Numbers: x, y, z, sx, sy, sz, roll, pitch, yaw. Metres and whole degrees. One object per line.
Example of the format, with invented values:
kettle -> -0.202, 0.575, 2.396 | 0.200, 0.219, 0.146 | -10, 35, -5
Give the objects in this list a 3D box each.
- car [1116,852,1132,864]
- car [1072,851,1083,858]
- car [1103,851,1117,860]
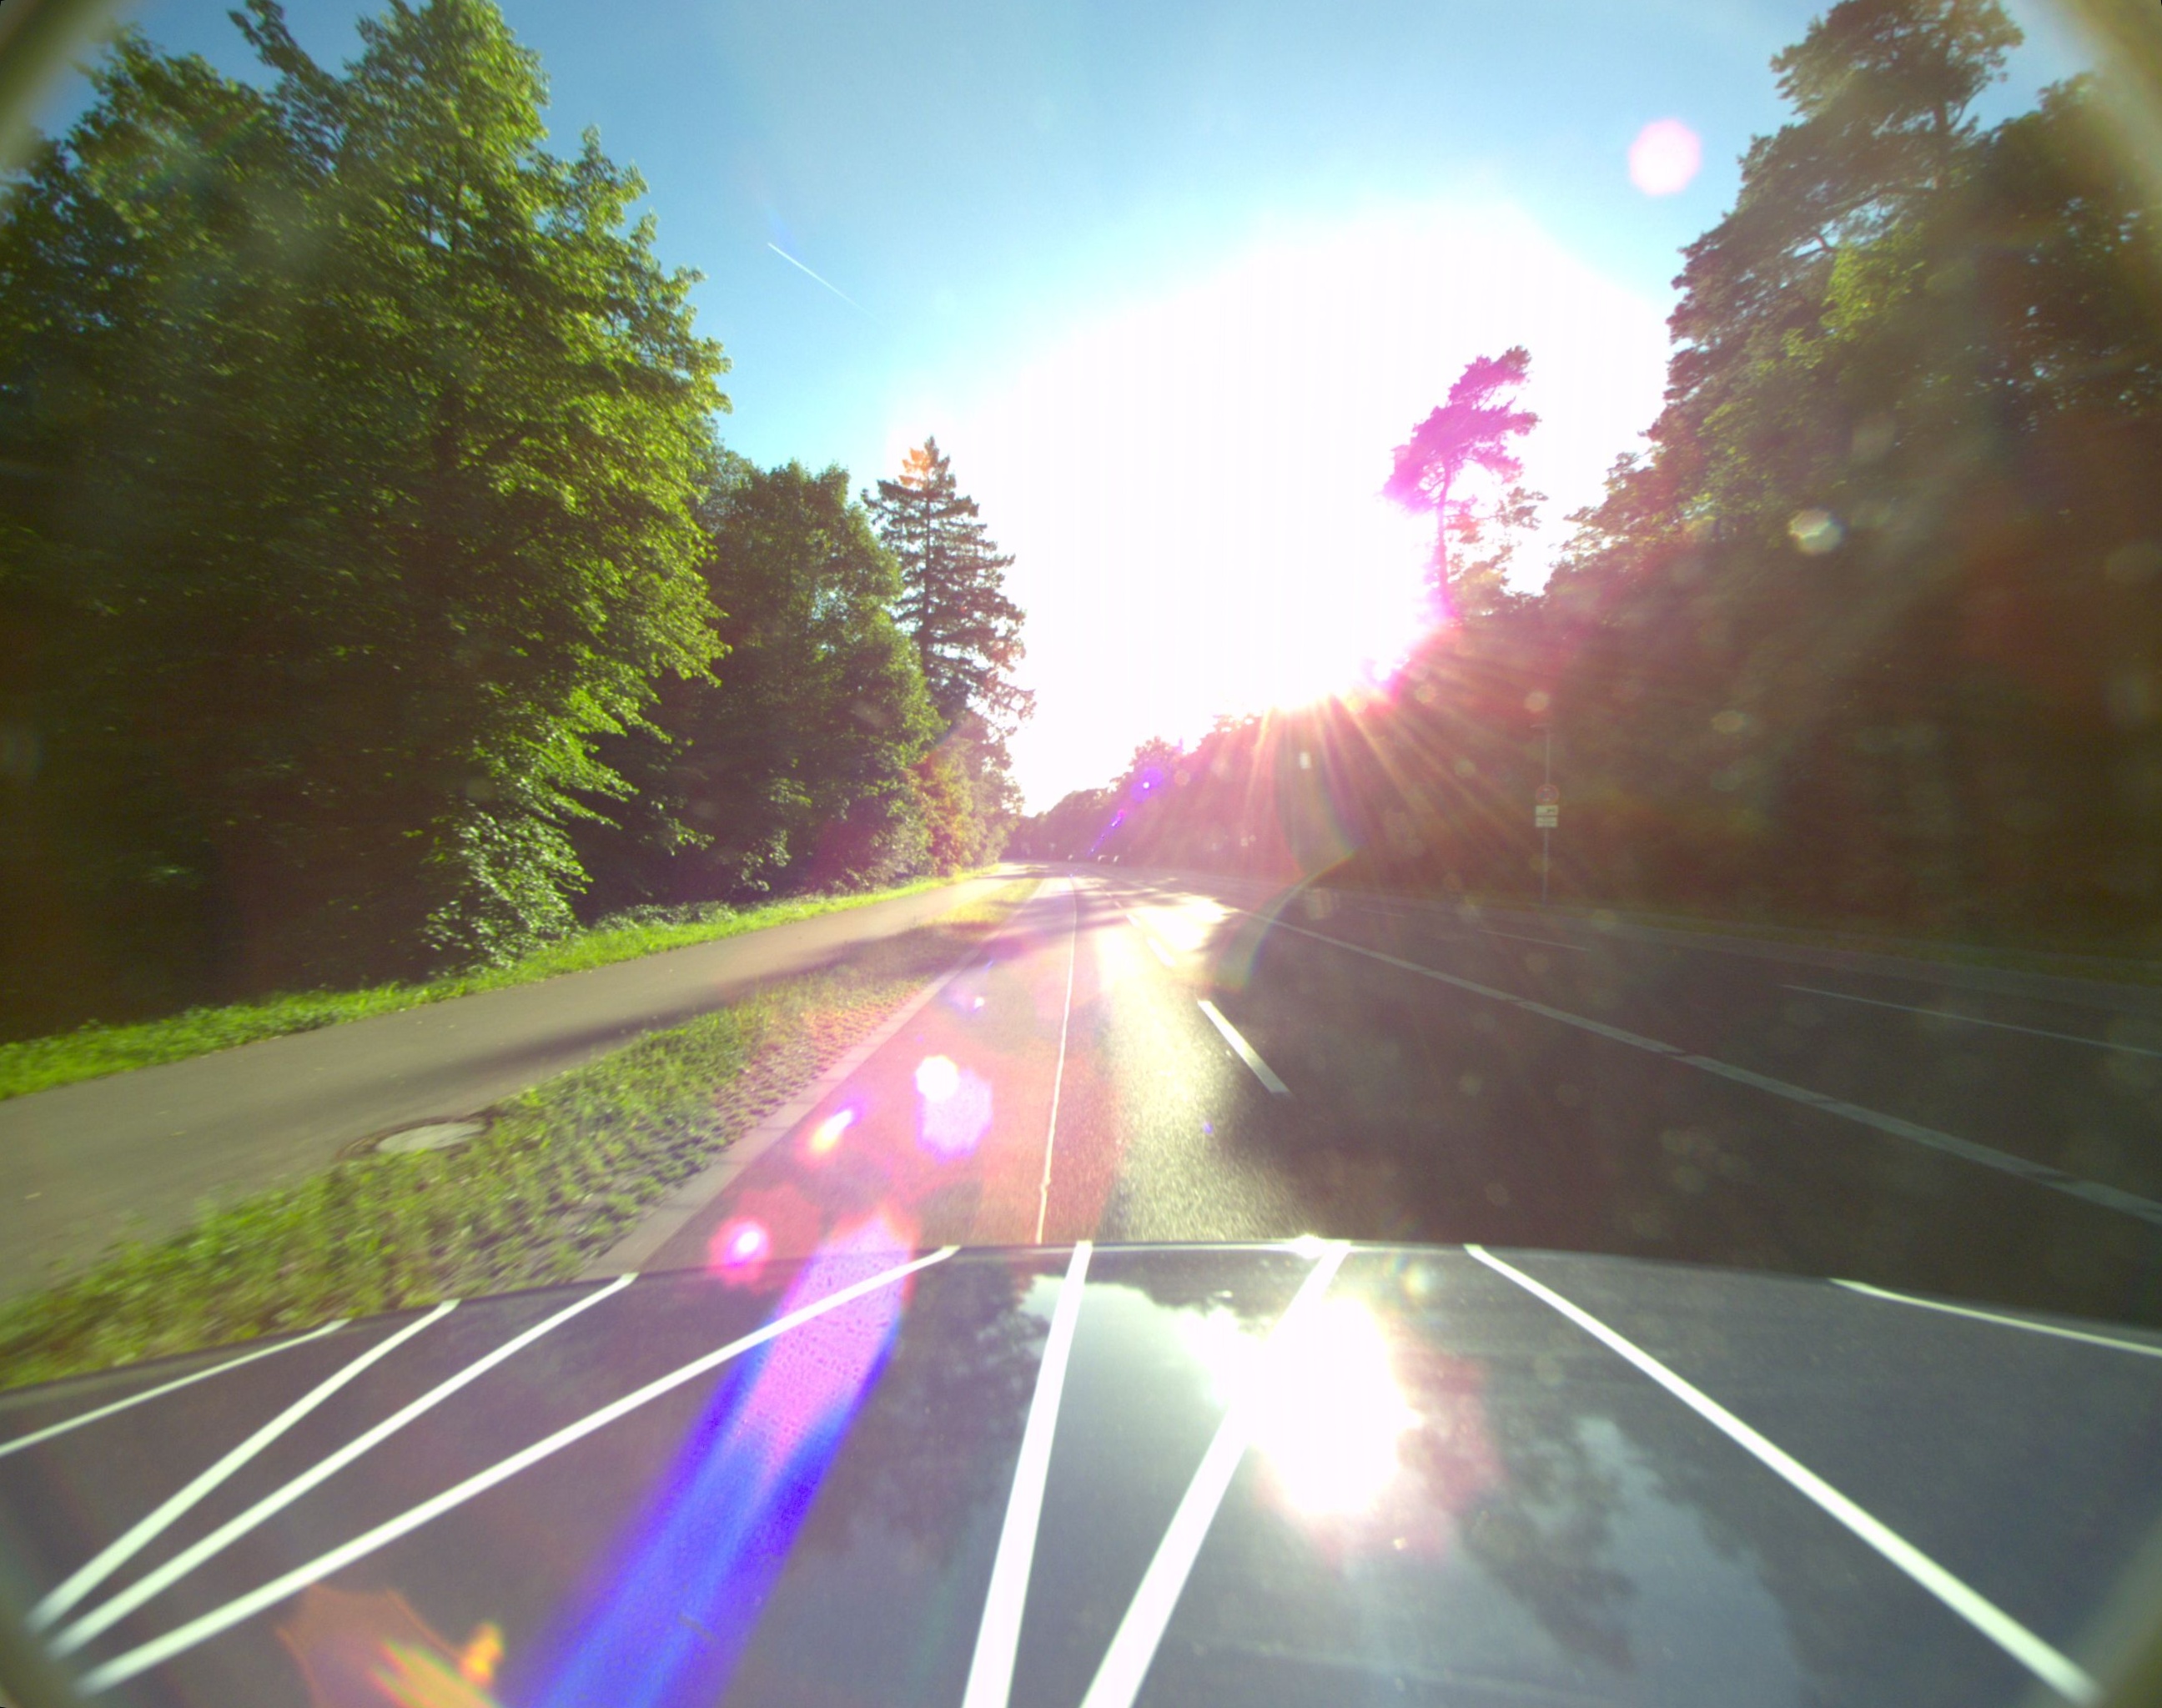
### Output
car -> 5.846, 0.540, 103.974 | 1.662, 1.472, 4.171 | -1, 0, -3
car -> -0.750, 0.076, 164.898 | 1.901, 1.601, 4.446 | 0, 0, -6
car -> 4.619, 0.250, 121.589 | 1.744, 1.449, 3.997 | -3, 0, -4
